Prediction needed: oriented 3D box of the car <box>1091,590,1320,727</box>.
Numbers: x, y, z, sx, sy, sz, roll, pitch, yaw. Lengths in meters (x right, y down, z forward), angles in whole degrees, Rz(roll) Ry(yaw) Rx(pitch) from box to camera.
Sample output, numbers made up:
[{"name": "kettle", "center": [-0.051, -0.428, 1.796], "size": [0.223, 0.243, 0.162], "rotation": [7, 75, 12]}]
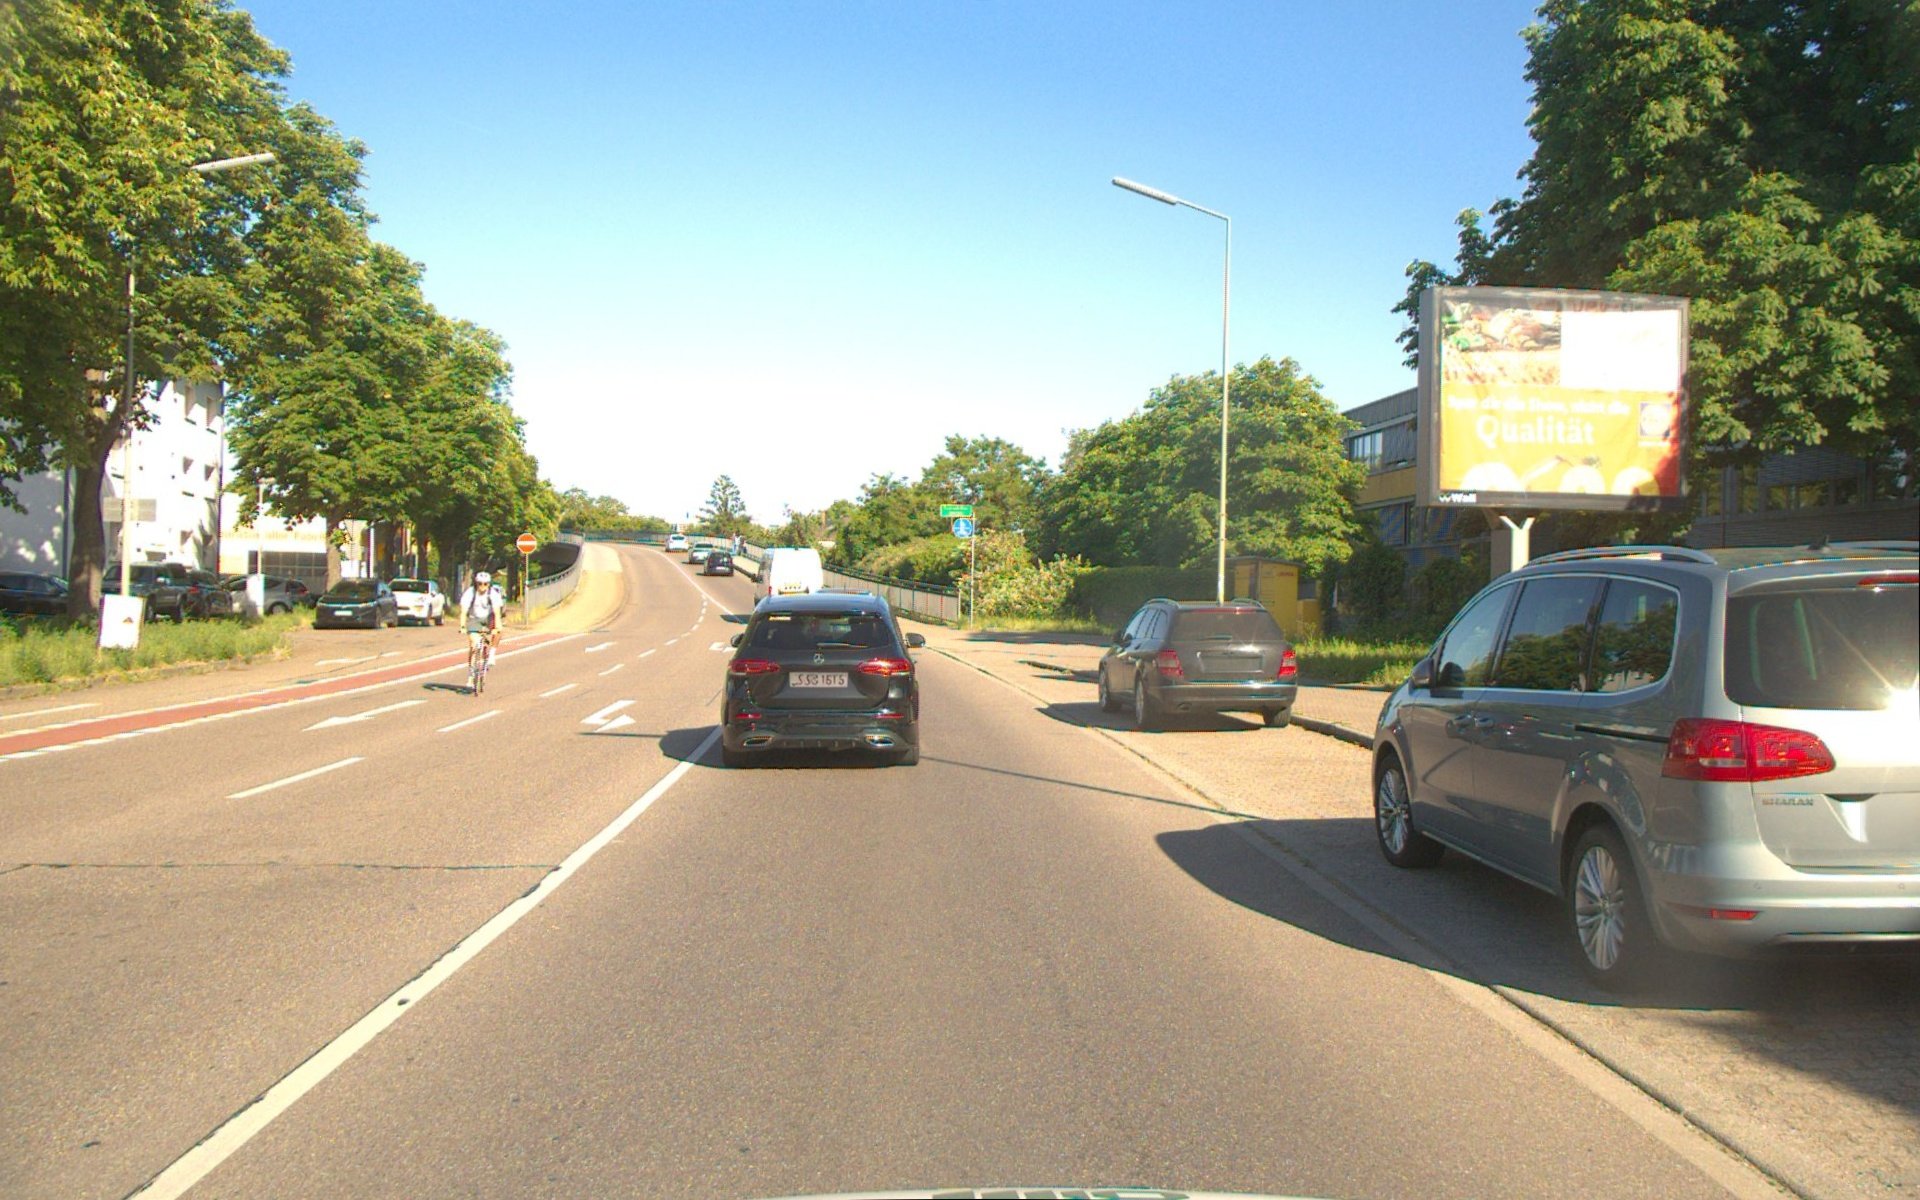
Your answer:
[{"name": "car", "center": [2.834, 0.618, 20.089], "size": [1.773, 1.444, 4.420], "rotation": [1, 1, -5]}]

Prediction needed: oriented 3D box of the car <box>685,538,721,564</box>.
[{"name": "car", "center": [-17.910, -3.387, 115.582], "size": [1.953, 1.709, 3.999], "rotation": [0, 0, -1]}]

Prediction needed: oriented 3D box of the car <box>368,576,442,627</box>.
[{"name": "car", "center": [-20.526, 0.036, 61.306], "size": [2.002, 1.759, 5.220], "rotation": [2, 0, -13]}]

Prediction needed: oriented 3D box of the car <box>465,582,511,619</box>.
[{"name": "car", "center": [-27.316, -0.017, 95.768], "size": [1.887, 2.026, 4.250], "rotation": [1, 1, -8]}]

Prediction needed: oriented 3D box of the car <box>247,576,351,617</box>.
[{"name": "car", "center": [-27.994, -0.137, 70.161], "size": [3.937, 1.611, 1.889], "rotation": [1, 1, -18]}]

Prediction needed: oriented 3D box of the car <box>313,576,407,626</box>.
[{"name": "car", "center": [-19.262, 0.006, 53.309], "size": [2.001, 1.489, 4.949], "rotation": [1, 0, -10]}]

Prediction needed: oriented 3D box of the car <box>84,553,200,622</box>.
[{"name": "car", "center": [-24.921, -0.374, 50.560], "size": [1.715, 1.964, 5.092], "rotation": [1, 0, -9]}]

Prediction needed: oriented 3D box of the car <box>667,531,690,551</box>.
[{"name": "car", "center": [-24.103, -5.014, 141.792], "size": [1.842, 1.570, 3.992], "rotation": [1, 1, -9]}]

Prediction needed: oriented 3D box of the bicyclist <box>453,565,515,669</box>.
[{"name": "bicyclist", "center": [-7.089, 0.239, 24.665], "size": [0.758, 1.510, 0.823], "rotation": [1, 1, -10]}]

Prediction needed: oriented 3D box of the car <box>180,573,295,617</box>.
[{"name": "car", "center": [-26.952, -0.174, 61.710], "size": [3.631, 1.536, 1.761], "rotation": [1, 1, -38]}]

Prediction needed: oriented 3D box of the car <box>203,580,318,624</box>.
[{"name": "car", "center": [-27.349, 0.065, 64.678], "size": [3.948, 1.625, 1.978], "rotation": [0, 2, -32]}]

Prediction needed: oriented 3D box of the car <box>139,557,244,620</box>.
[{"name": "car", "center": [-25.806, -0.391, 55.738], "size": [2.032, 1.964, 4.775], "rotation": [2, 0, -11]}]

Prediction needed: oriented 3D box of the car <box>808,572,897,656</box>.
[{"name": "car", "center": [-2.330, 0.302, 35.504], "size": [1.769, 1.668, 3.996], "rotation": [1, 0, -4]}]

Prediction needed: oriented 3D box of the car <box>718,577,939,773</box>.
[{"name": "car", "center": [-1.142, 0.636, 16.006], "size": [1.733, 1.620, 3.989], "rotation": [1, 0, 1]}]

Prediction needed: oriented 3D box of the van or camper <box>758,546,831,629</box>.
[{"name": "van or camper", "center": [-6.063, -0.491, 59.755], "size": [2.185, 2.787, 7.066], "rotation": [1, 1, -9]}]

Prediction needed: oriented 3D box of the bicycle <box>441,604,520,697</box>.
[{"name": "bicycle", "center": [-7.076, 0.704, 24.545], "size": [0.778, 1.247, 3.205], "rotation": [1, 0, -10]}]

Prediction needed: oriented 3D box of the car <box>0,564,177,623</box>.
[{"name": "car", "center": [-23.204, -0.154, 44.002], "size": [3.920, 1.454, 1.900], "rotation": [1, -1, -15]}]

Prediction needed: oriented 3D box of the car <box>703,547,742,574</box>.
[{"name": "car", "center": [-14.450, -2.392, 100.761], "size": [1.879, 1.514, 4.269], "rotation": [0, 0, -1]}]

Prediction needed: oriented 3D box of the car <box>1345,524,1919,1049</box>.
[{"name": "car", "center": [3.370, 0.614, 7.893], "size": [1.835, 1.752, 4.610], "rotation": [-1, 0, -2]}]
